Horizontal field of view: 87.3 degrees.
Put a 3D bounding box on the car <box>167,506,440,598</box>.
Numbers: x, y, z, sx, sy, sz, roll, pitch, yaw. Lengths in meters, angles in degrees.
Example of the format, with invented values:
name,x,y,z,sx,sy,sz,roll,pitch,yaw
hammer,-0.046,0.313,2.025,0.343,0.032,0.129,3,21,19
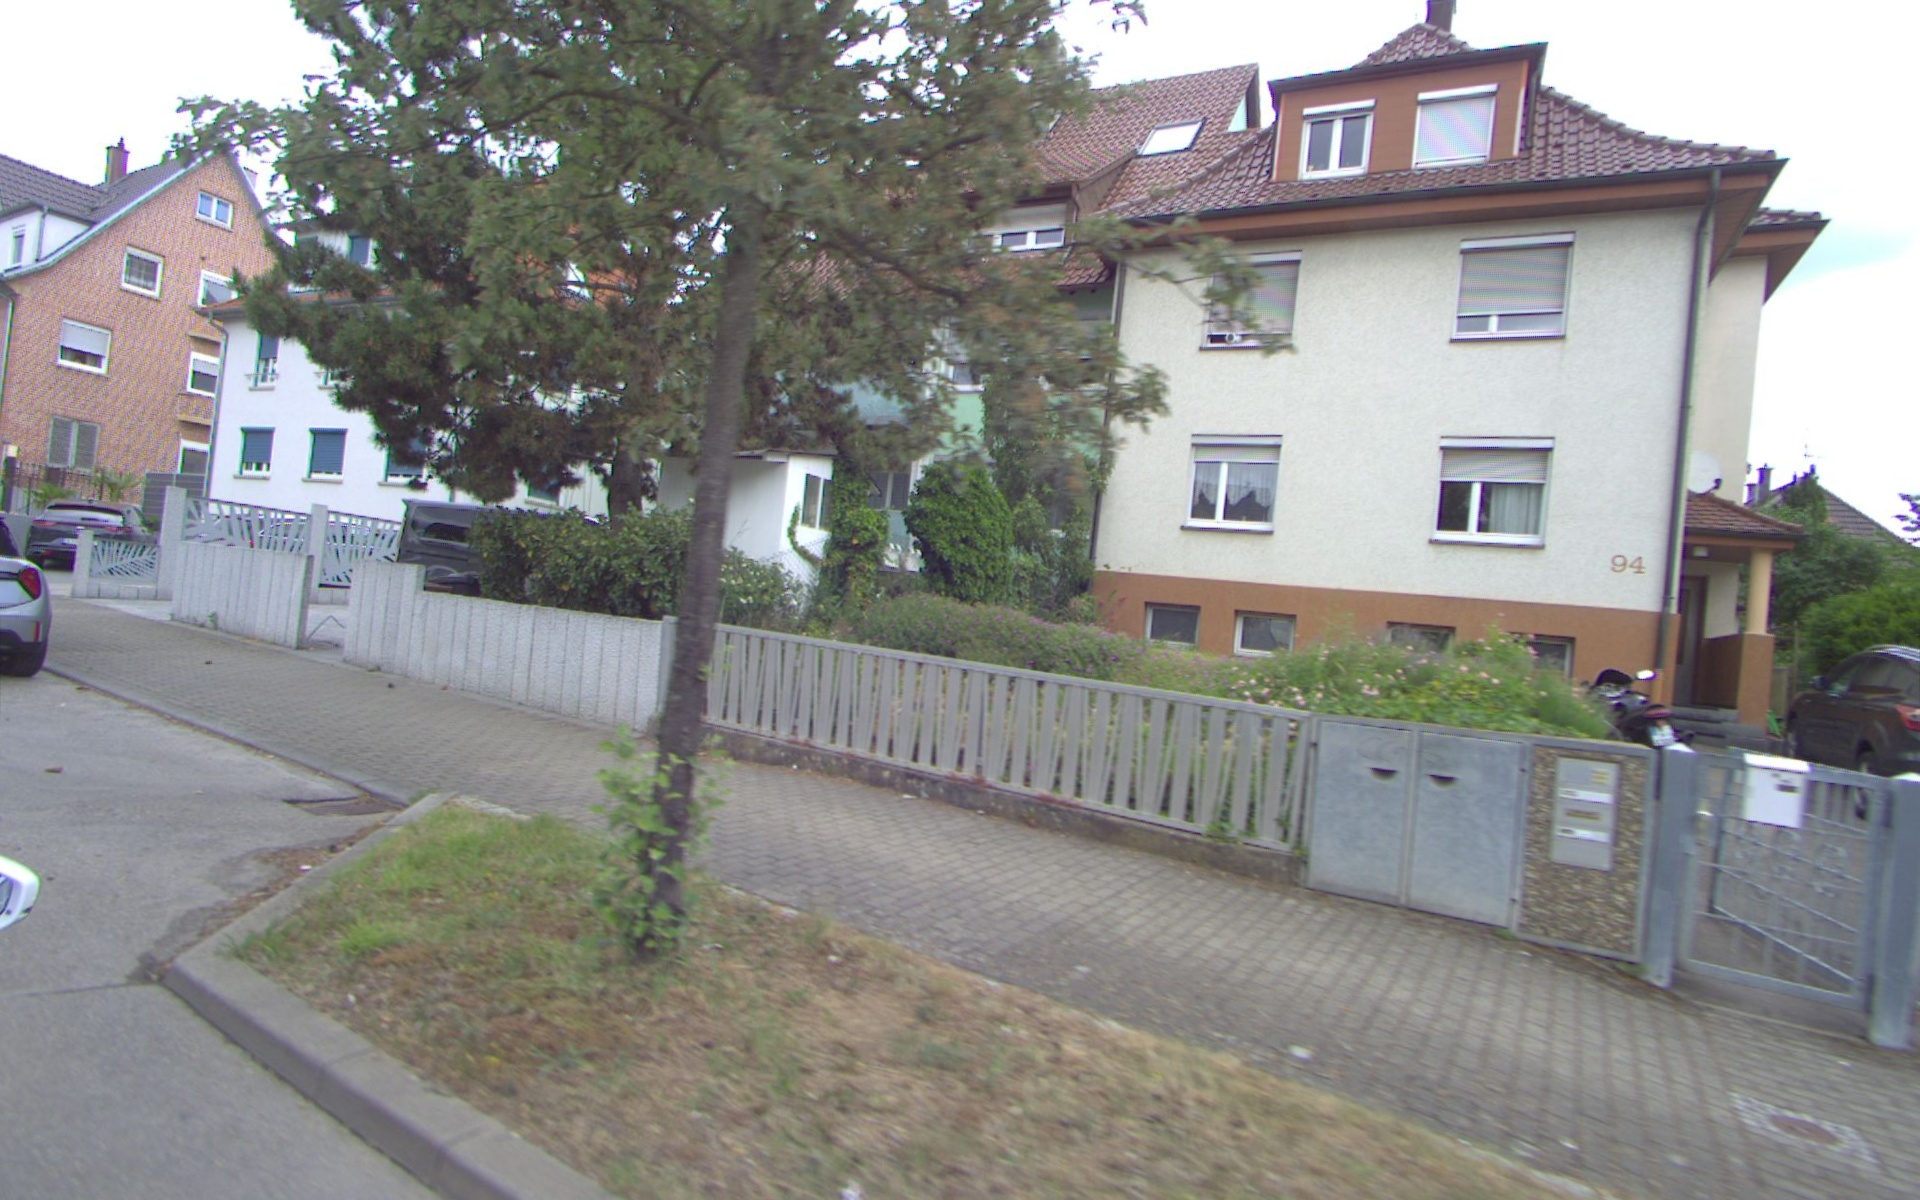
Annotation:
name,x,y,z,sx,sy,sz,roll,pitch,yaw
car,-12.739,-0.868,19.854,1.665,1.526,4.266,5,2,24

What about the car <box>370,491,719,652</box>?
name,x,y,z,sx,sy,sz,roll,pitch,yaw
car,-6.458,-0.466,15.948,4.634,2.041,1.977,5,3,5

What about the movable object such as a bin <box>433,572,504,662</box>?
name,x,y,z,sx,sy,sz,roll,pitch,yaw
movable object such as a bin,-6.241,0.205,12.791,0.603,1.071,0.593,3,4,-2

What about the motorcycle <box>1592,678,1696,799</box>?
name,x,y,z,sx,sy,sz,roll,pitch,yaw
motorcycle,7.384,1.463,10.915,0.575,1.061,1.222,4,4,20

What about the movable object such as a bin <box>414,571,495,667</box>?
name,x,y,z,sx,sy,sz,roll,pitch,yaw
movable object such as a bin,-6.011,0.212,11.985,0.603,1.071,0.593,4,4,10

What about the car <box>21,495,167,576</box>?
name,x,y,z,sx,sy,sz,roll,pitch,yaw
car,-18.096,-1.378,21.223,1.805,1.399,4.437,3,2,-34

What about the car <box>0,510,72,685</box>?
name,x,y,z,sx,sy,sz,roll,pitch,yaw
car,-9.628,-0.219,8.788,3.934,1.398,1.653,5,-2,32

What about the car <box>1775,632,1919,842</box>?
name,x,y,z,sx,sy,sz,roll,pitch,yaw
car,10.342,1.361,10.589,1.853,1.727,3.987,4,3,28
